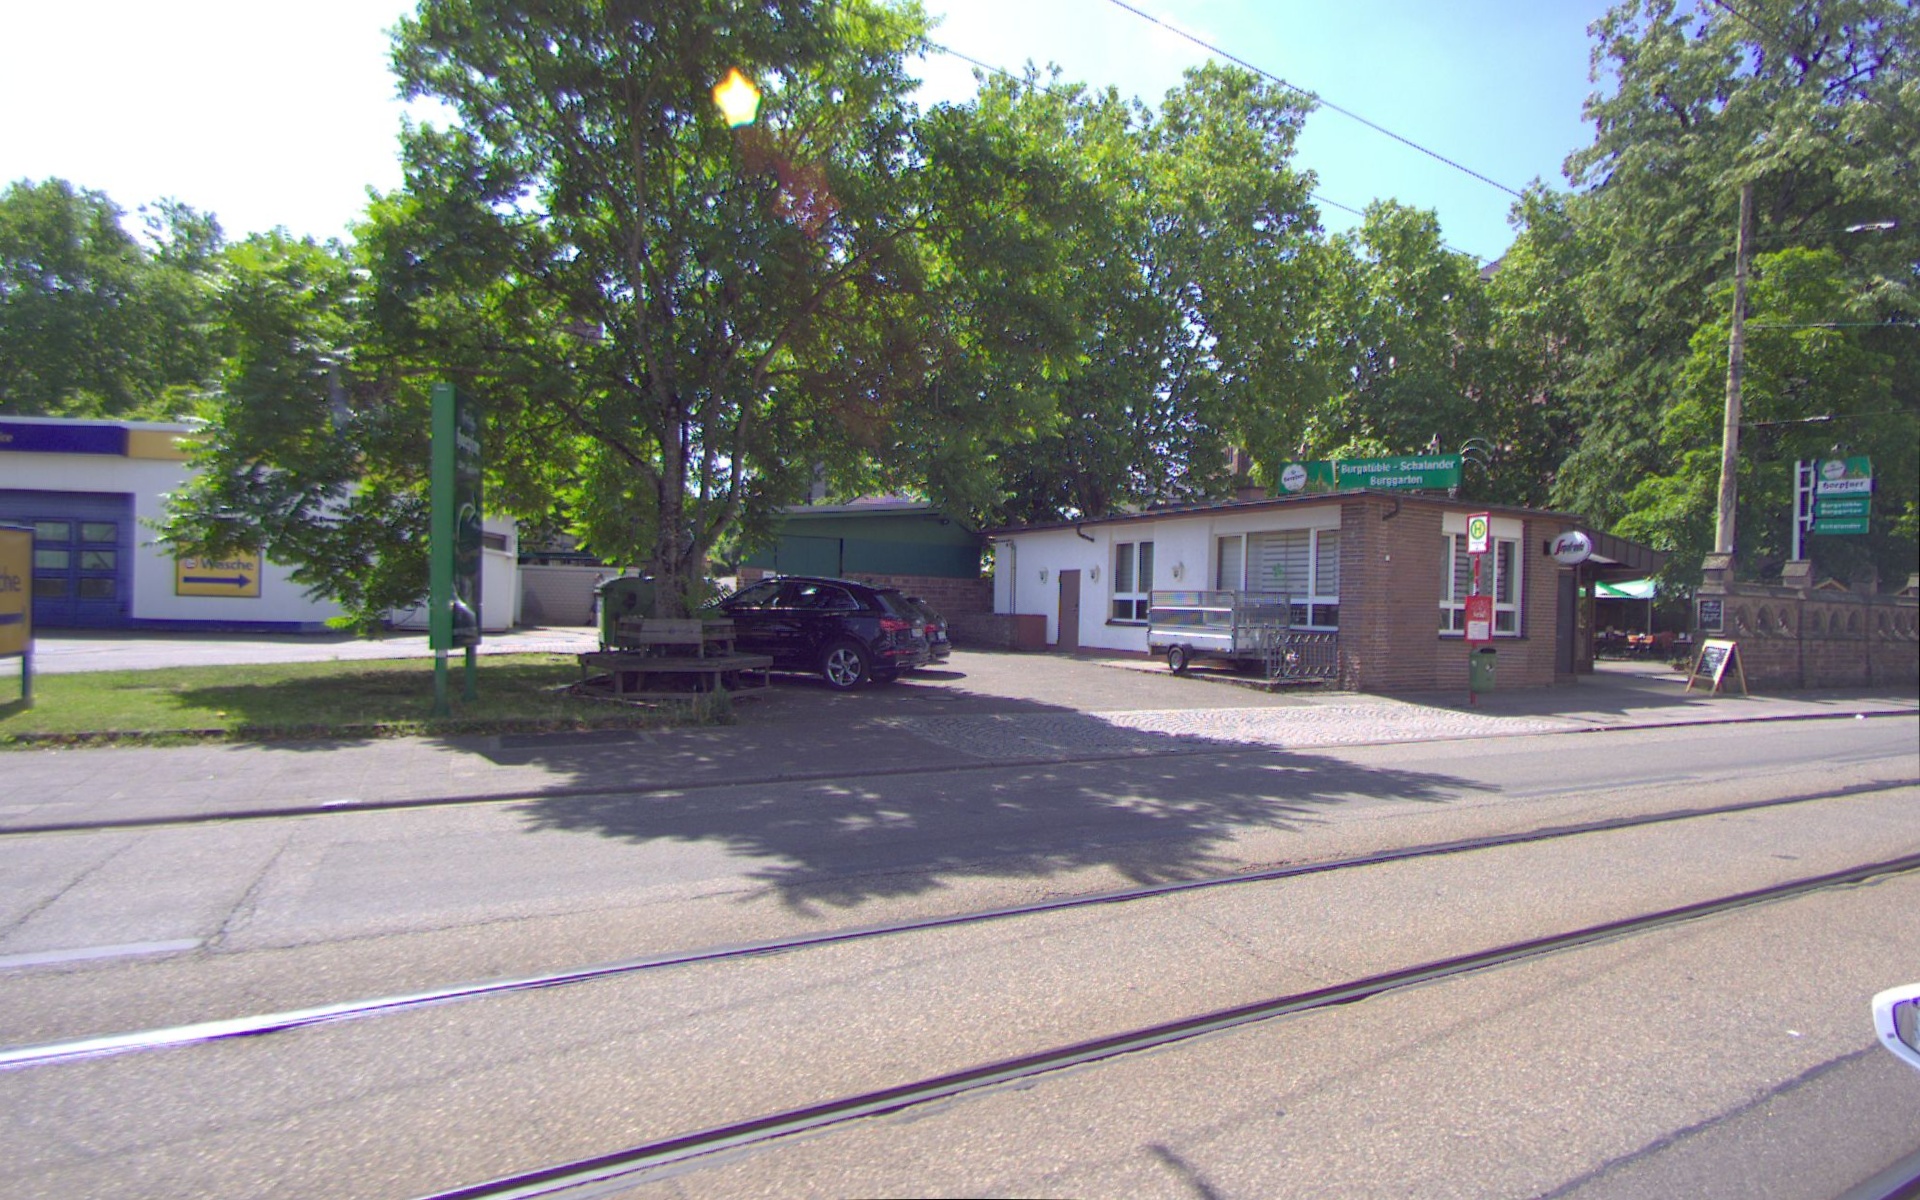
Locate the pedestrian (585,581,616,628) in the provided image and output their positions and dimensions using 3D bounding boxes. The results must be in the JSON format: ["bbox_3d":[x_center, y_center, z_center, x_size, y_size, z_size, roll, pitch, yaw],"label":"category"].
[{"bbox_3d":[-12.455,0.157,34.782,0.822,1.575,0.731,2,0,-8],"label":"pedestrian"}]

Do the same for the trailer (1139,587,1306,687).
[{"bbox_3d":[4.940,0.649,19.177,1.600,1.726,2.819,2,0,-27],"label":"trailer"}]

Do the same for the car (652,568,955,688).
[{"bbox_3d":[-2.425,0.390,15.905,4.246,1.611,2.001,2,1,16],"label":"car"}]

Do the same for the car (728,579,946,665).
[{"bbox_3d":[-2.640,0.436,21.726,4.247,1.613,1.910,2,0,19],"label":"car"}]

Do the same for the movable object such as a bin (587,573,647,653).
[{"bbox_3d":[-6.203,0.219,18.132,0.749,1.372,1.338,2,1,-30],"label":"movable object such as a bin"}]

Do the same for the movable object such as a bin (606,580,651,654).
[{"bbox_3d":[-6.408,0.314,19.481,0.746,1.372,1.344,1,0,-16],"label":"movable object such as a bin"}]
